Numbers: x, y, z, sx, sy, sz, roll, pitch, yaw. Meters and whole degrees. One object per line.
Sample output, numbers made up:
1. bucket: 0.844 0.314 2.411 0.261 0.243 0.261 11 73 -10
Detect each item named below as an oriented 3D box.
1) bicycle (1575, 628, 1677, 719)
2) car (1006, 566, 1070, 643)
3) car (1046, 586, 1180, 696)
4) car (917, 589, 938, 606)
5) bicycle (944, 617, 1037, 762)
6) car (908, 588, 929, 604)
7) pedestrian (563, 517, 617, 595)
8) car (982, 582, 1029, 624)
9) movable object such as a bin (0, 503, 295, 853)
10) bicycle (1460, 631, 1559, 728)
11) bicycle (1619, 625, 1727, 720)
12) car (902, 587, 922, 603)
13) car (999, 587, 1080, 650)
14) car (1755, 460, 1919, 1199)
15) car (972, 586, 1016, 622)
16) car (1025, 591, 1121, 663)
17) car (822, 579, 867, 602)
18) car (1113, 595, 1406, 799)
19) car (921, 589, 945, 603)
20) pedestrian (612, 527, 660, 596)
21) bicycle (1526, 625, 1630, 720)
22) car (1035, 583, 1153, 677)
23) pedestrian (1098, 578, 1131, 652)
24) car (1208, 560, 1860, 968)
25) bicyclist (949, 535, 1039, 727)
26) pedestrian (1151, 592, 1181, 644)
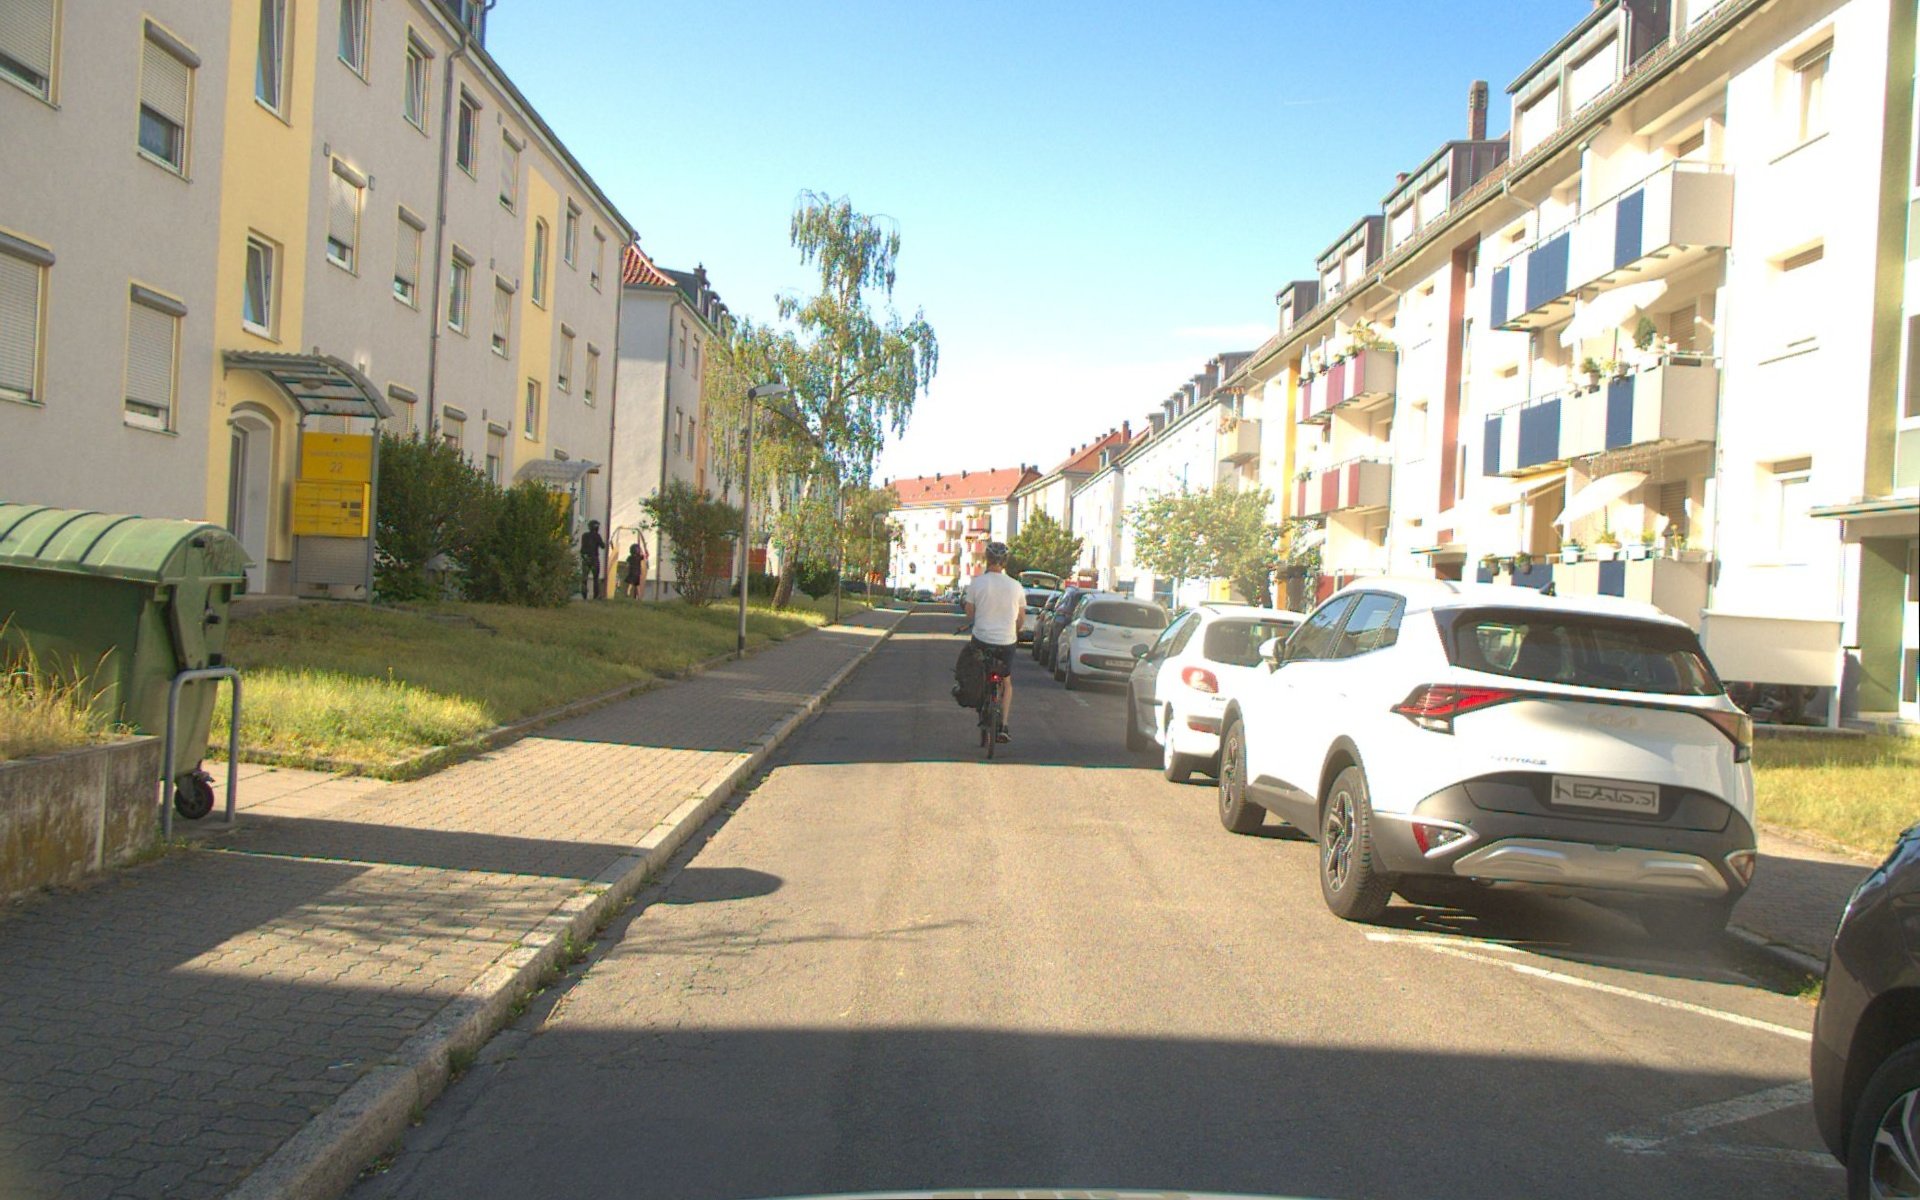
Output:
1. bicycle: 8.637 0.934 21.528 0.504 1.072 1.865 3 0 -1
2. car: 2.350 0.120 50.521 1.586 2.181 3.999 3 0 -1
3. car: 2.386 0.605 26.642 1.599 1.516 3.622 5 0 -2
4. car: -3.250 -0.296 164.800 1.722 1.603 3.900 2 0 -5
5. bicycle: 0.247 0.758 14.699 0.647 1.147 1.765 4 0 -2
6. car: -4.283 -0.422 170.240 1.954 1.603 3.997 2 0 -4
7. pedestrian: -8.598 -1.022 38.471 0.951 1.745 0.946 3 0 -1
8. car: 1.917 0.115 70.606 1.769 1.632 4.403 3 0 -1
9. movable object such as a bin: -4.202 0.323 7.910 1.462 1.504 1.264 3 0 -1
10. bicycle: 6.994 0.993 21.135 0.547 1.112 1.900 3 0 -1
11. bicycle: 9.272 0.914 21.568 0.547 1.123 1.829 3 0 -1
12. car: -5.199 -0.561 178.896 1.954 1.603 3.997 2 0 -4
13. car: 2.107 0.479 44.682 1.856 1.522 4.091 3 0 -1
14. car: 2.959 0.632 1.993 1.826 1.760 4.294 3 0 -1
15. car: 1.521 0.157 75.534 1.769 1.524 4.199 3 0 -1
16. car: 2.501 0.568 37.305 1.798 1.460 3.751 3 0 -1
17. car: -10.383 -0.844 148.652 3.907 1.832 1.999 2 0 -2
18. car: 2.475 0.740 14.519 1.722 1.457 3.627 3 0 -2
19. car: -3.232 -0.511 197.210 1.959 1.603 3.987 2 0 -13
20. pedestrian: -7.570 -0.883 38.634 0.846 1.548 1.068 3 0 -1
21. bicycle: 7.904 0.903 21.241 0.547 1.112 1.900 3 0 -1
22. car: 2.490 0.530 31.587 1.798 1.585 3.999 3 0 -1
23. pedestrian: 4.444 0.423 47.613 0.775 2.049 1.082 2 0 -1
24. car: 2.727 0.684 9.005 1.943 1.619 4.123 3 0 -2
25. bicyclist: 0.288 0.267 14.658 0.680 1.624 0.791 3 0 -2
26. pedestrian: 6.927 0.594 55.656 0.698 1.707 0.792 2 0 29
